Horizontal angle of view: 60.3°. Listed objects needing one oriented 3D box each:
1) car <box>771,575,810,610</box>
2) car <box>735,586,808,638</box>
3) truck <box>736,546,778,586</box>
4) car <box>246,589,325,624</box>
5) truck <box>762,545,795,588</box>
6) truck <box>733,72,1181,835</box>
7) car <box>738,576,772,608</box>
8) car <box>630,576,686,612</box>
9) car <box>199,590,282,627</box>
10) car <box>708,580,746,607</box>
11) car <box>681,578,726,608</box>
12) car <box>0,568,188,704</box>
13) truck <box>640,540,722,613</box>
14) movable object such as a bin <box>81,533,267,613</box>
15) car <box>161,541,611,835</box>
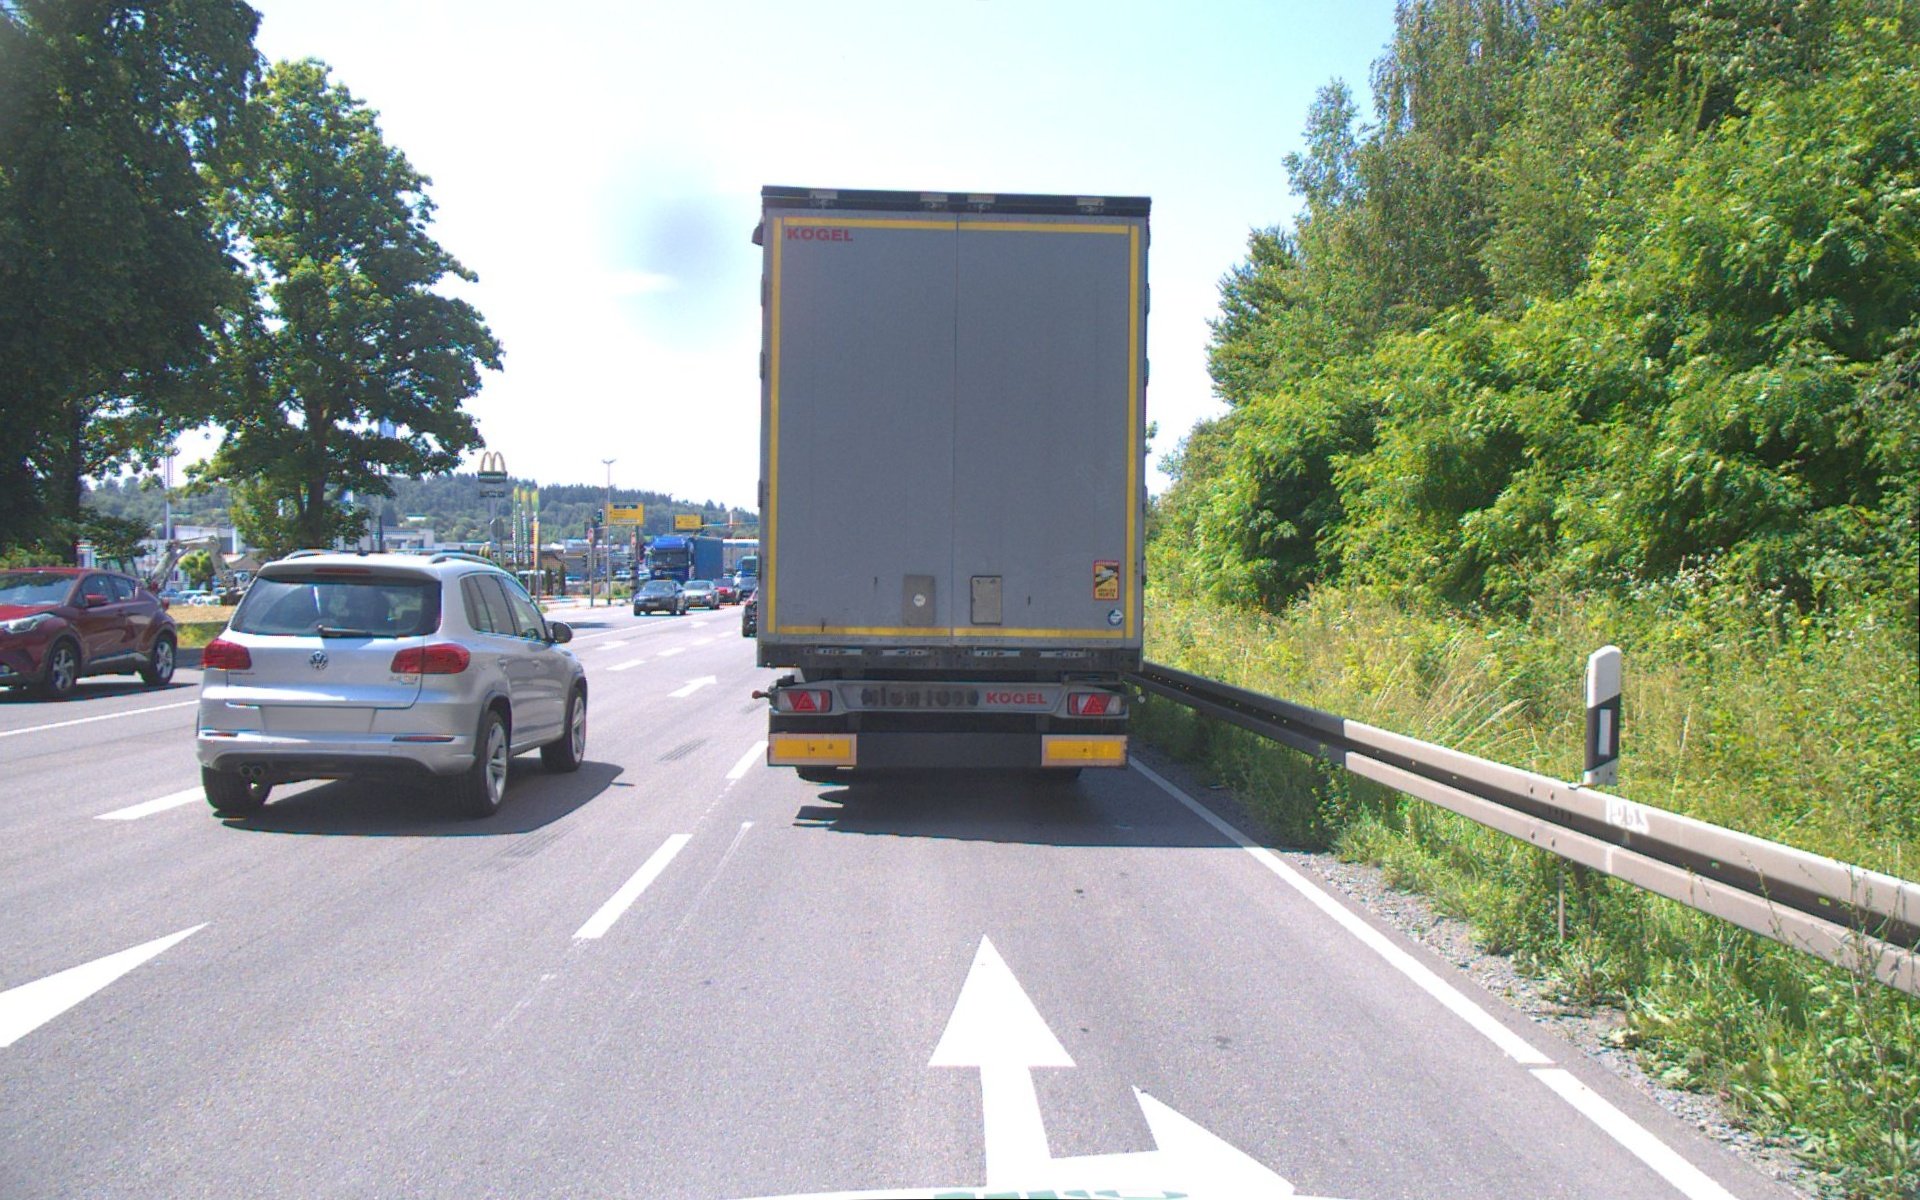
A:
[{"bbox_3d":[-10.207,-0.471,99.863,1.953,2.049,3.999,0,0,-1],"label":"car"},{"bbox_3d":[-5.343,0.325,47.418,1.651,1.423,4.402,0,0,-1],"label":"car"},{"bbox_3d":[-18.142,-2.975,148.246,2.789,3.410,11.476,0,0,-3],"label":"truck"},{"bbox_3d":[-33.347,0.305,81.779,3.920,1.646,1.833,1,0,36],"label":"car"},{"bbox_3d":[-19.778,-3.541,179.572,3.086,4.425,17.512,0,0,-8],"label":"truck"},{"bbox_3d":[-0.129,-0.868,18.696,2.699,4.720,16.651,1,0,-1],"label":"truck"},{"bbox_3d":[-13.142,-0.526,106.286,1.737,2.049,3.999,0,0,-1],"label":"car"},{"bbox_3d":[-12.596,-0.233,69.130,1.731,1.410,3.998,1,0,-3],"label":"car"},{"bbox_3d":[-34.784,0.389,79.934,3.920,1.680,1.993,1,0,36],"label":"car"},{"bbox_3d":[-13.453,-0.389,95.572,1.608,1.463,4.017,0,1,0],"label":"car"},{"bbox_3d":[-12.717,-0.315,82.105,1.731,1.410,3.998,1,0,-3],"label":"car"},{"bbox_3d":[-11.385,0.393,20.642,1.865,1.535,3.762,0,0,-3],"label":"car"},{"bbox_3d":[-17.455,-1.418,104.798,2.908,4.249,16.569,0,0,-2],"label":"truck"},{"bbox_3d":[-34.212,-1.166,72.208,2.994,3.356,6.760,1,1,38],"label":"movable object such as a bin"},{"bbox_3d":[-3.850,0.502,11.942,1.768,1.699,4.291,1,0,-1],"label":"car"}]
